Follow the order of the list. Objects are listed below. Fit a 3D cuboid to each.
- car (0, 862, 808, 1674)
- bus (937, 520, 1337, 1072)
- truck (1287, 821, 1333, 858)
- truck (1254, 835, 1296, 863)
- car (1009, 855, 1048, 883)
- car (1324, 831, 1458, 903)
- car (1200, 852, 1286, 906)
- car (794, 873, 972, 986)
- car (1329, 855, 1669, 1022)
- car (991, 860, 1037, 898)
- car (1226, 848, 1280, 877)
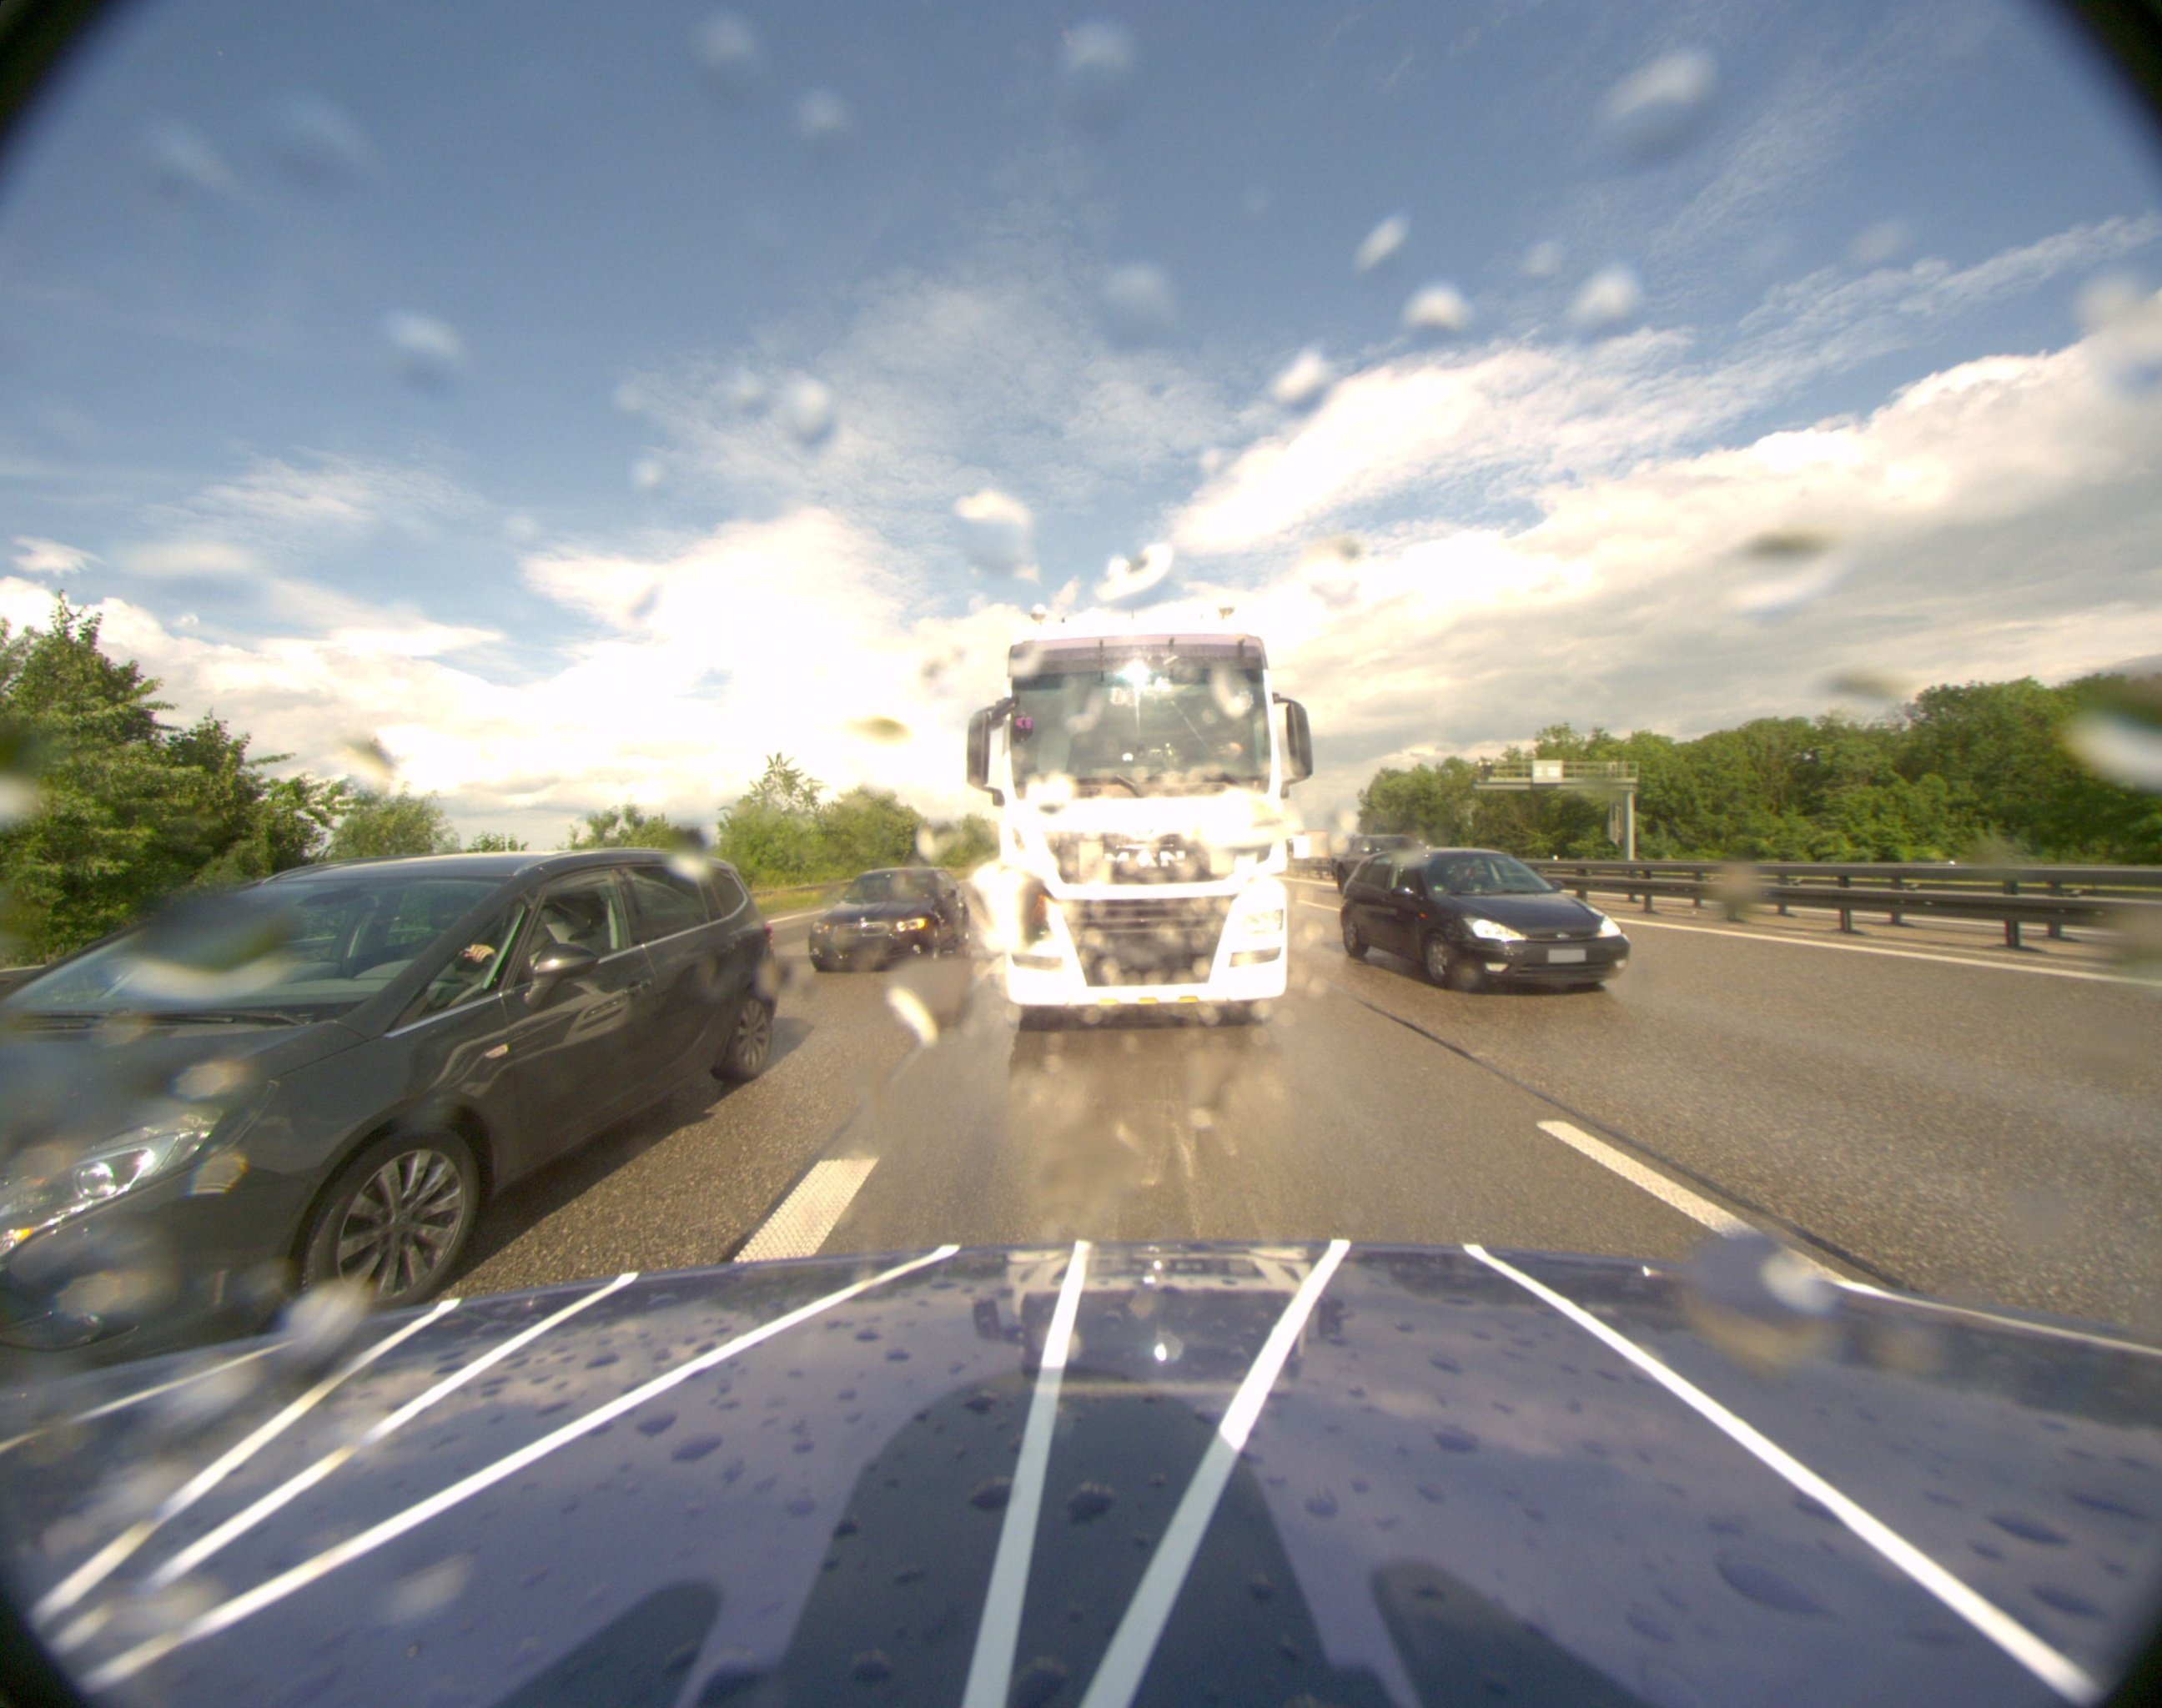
[{"bbox_3d":[-3.180,0.920,3.734,1.858,1.622,4.735,-2,0,1],"label":"car"},{"bbox_3d":[0.467,-0.451,10.730,2.904,4.104,9.844,-2,0,0],"label":"bus"},{"bbox_3d":[25.538,-1.529,85.315,2.799,3.861,8.919,-2,0,3],"label":"truck"},{"bbox_3d":[17.543,-0.445,69.205,1.922,2.264,8.919,-2,0,3],"label":"truck"},{"bbox_3d":[-2.858,0.791,42.074,1.858,1.434,3.999,-2,1,-1],"label":"car"},{"bbox_3d":[9.019,0.329,22.712,1.811,1.833,5.418,-2,0,1],"label":"car"},{"bbox_3d":[4.807,0.685,23.134,1.754,1.425,4.054,-2,0,1],"label":"car"},{"bbox_3d":[-2.898,1.045,11.990,1.722,1.346,3.884,-2,0,0],"label":"car"},{"bbox_3d":[4.443,0.770,8.886,1.763,1.435,4.000,-2,0,0],"label":"car"},{"bbox_3d":[-2.691,0.971,31.155,1.744,1.357,3.998,-2,0,-4],"label":"car"},{"bbox_3d":[9.421,0.425,41.959,1.925,1.416,4.371,-2,0,-1],"label":"car"}]
